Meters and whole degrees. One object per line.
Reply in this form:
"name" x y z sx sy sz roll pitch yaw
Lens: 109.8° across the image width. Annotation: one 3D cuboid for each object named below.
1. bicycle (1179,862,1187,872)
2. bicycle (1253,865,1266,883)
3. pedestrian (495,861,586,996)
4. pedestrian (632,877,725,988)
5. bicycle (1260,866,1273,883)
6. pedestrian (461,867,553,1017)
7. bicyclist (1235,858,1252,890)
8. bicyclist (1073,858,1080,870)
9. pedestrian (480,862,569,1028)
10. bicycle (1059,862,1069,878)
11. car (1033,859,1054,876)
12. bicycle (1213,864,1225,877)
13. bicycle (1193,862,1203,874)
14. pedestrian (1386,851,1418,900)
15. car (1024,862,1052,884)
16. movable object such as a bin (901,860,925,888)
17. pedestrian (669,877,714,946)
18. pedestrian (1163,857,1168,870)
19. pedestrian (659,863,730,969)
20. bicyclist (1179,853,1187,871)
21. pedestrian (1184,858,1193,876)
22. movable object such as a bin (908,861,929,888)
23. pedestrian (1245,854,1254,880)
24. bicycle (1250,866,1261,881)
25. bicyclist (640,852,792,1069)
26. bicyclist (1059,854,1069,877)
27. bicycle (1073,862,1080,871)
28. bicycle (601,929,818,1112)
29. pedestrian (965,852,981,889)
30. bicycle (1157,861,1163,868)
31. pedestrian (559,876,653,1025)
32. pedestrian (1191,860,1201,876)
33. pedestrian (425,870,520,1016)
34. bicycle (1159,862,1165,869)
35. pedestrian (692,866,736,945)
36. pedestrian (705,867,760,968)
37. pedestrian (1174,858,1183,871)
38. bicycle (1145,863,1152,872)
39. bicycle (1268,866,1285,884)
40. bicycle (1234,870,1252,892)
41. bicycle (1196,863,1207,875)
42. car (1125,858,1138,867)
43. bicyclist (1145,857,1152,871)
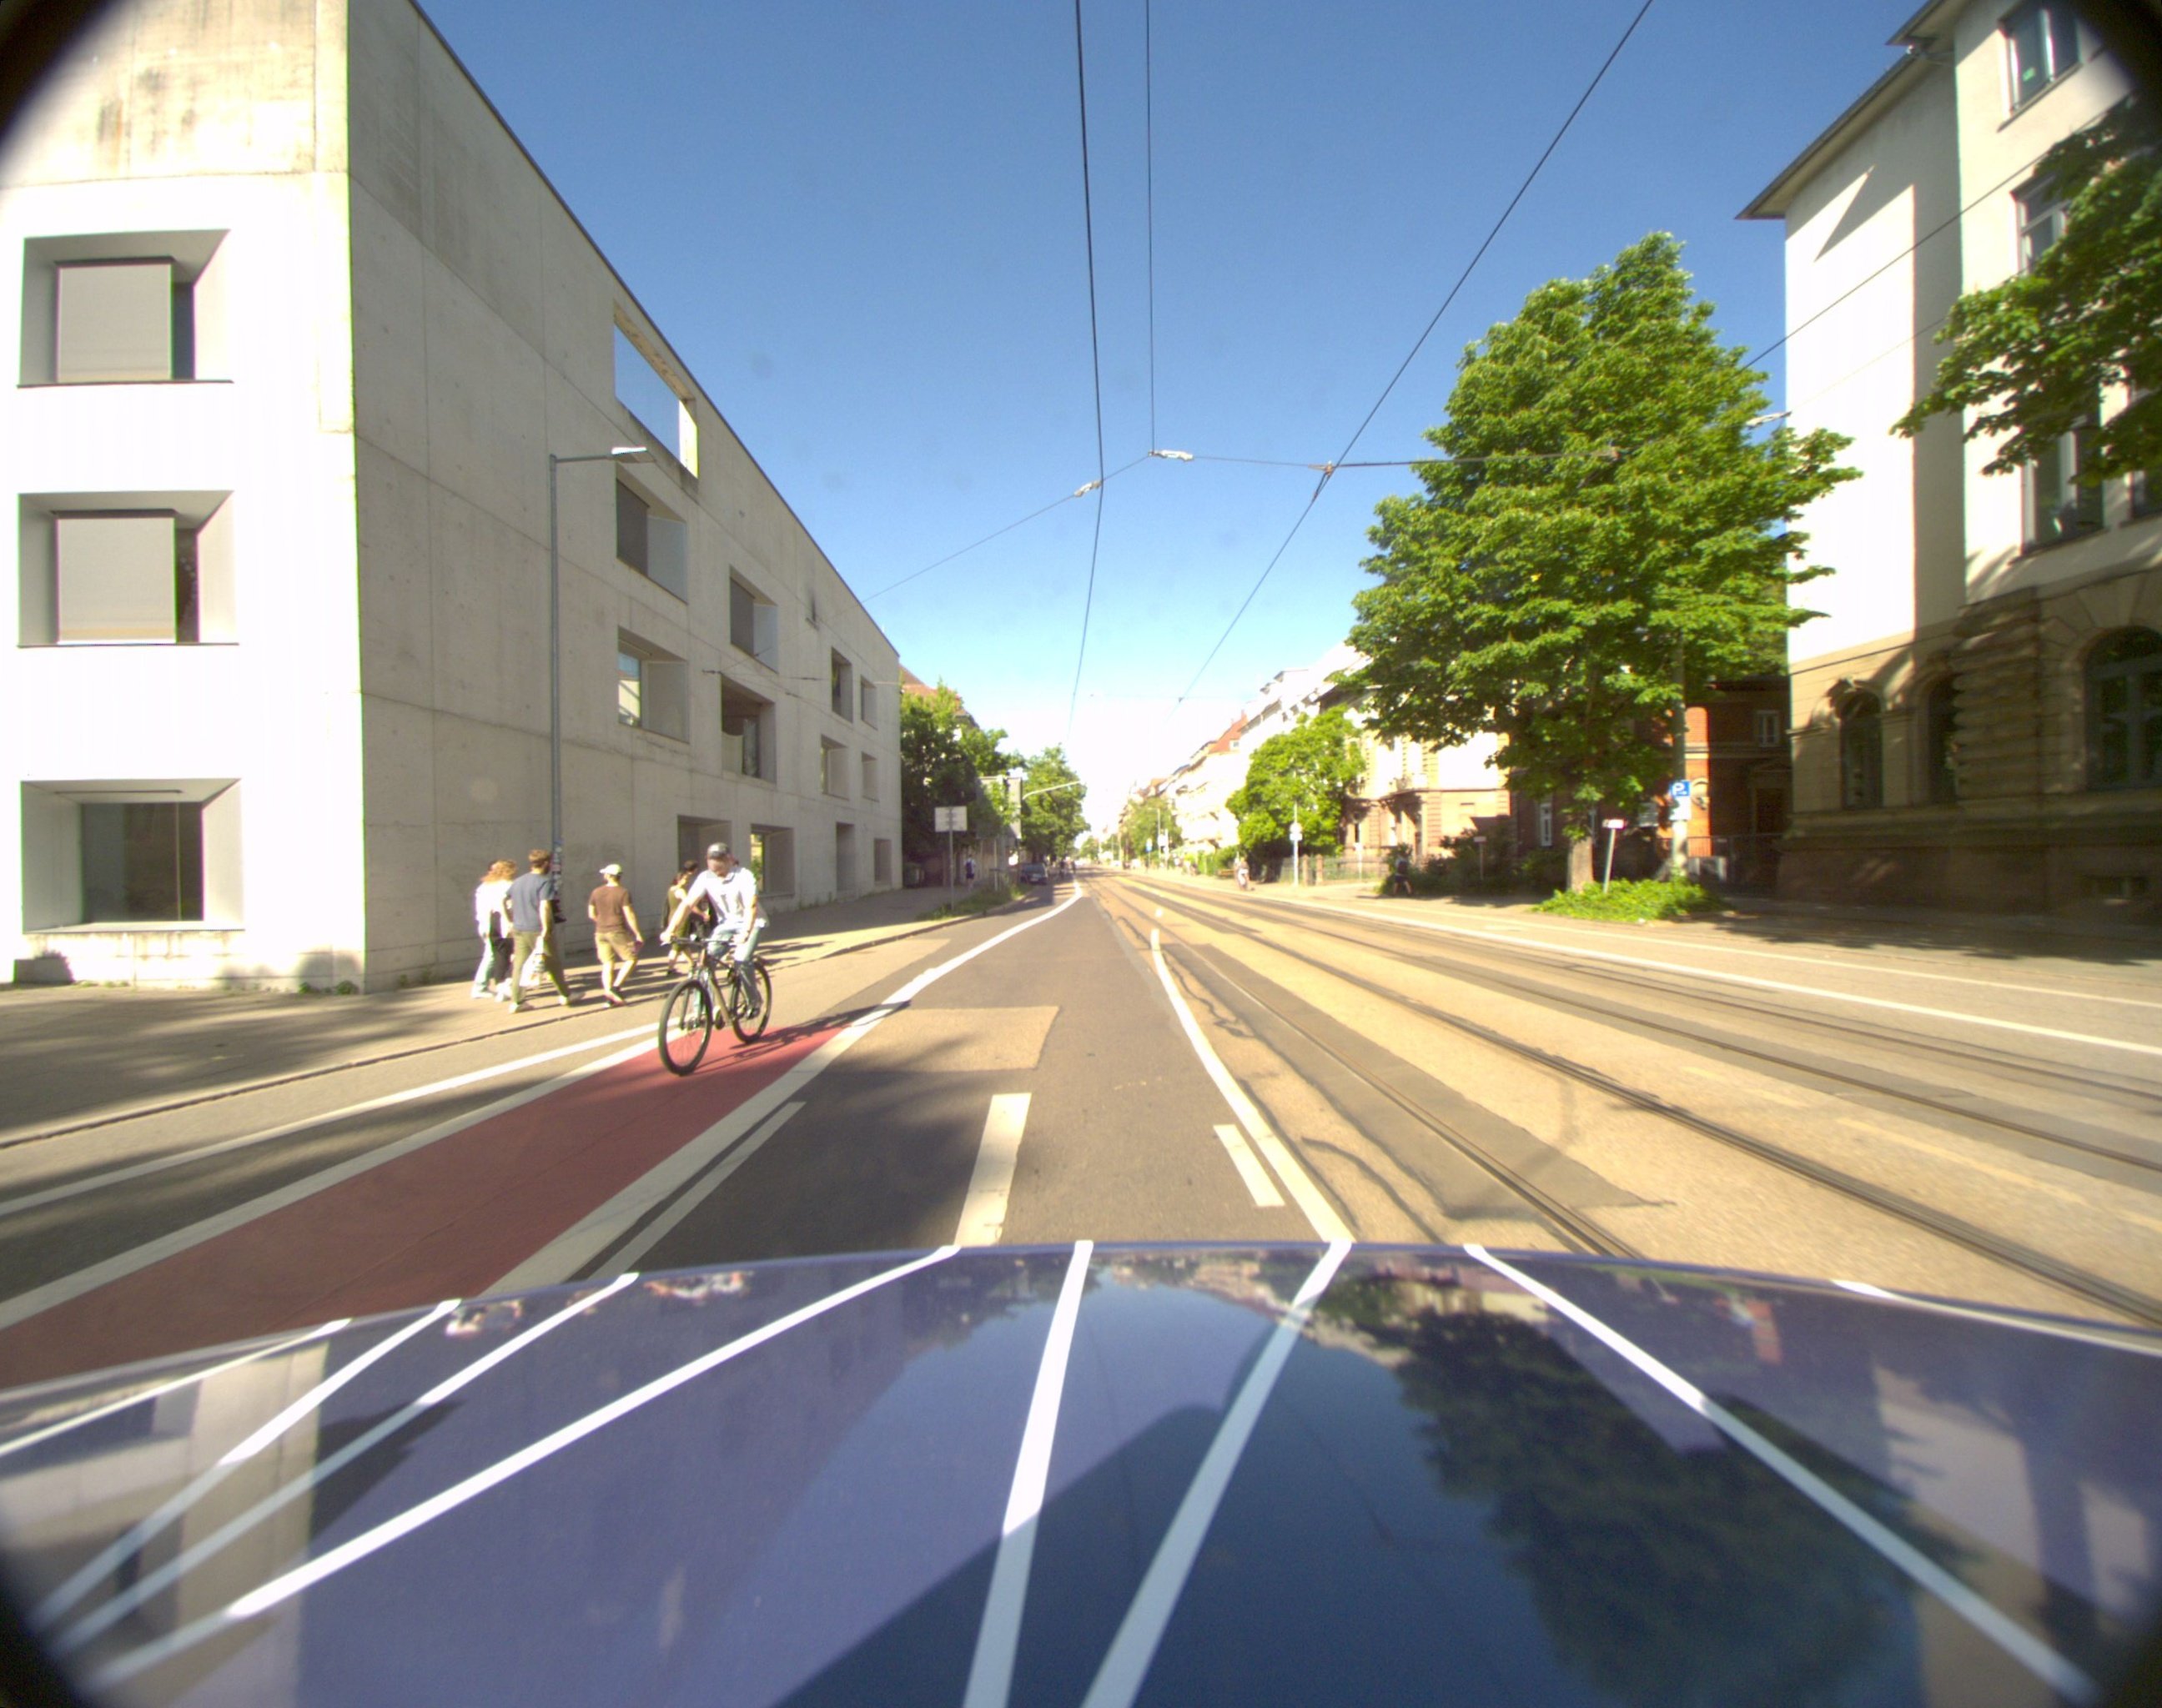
"bicycle" 10.582 1.339 78.806 0.705 1.049 1.837 -1 1 12
"bicycle" 12.226 1.343 52.147 0.647 1.137 1.906 -3 0 7
"pedestrian" -7.583 1.012 10.686 0.658 1.792 0.732 3 0 7
"pedestrian" -6.261 1.190 11.856 0.830 1.595 0.894 4 0 10
"bicycle" 12.160 1.342 49.814 0.591 1.039 1.906 -2 0 7
"pedestrian" -7.161 1.066 9.489 0.528 1.764 0.737 4 1 38
"bicyclist" 8.744 1.067 41.015 0.688 1.635 1.238 1 0 3
"bicyclist" -0.584 1.221 94.558 0.776 1.505 1.229 -1 0 -3
"pedestrian" -6.621 1.052 9.058 0.519 1.891 0.612 3 0 7
"bicycle" -1.344 1.288 60.757 0.763 1.235 2.096 -2 0 -1
"car" -3.796 1.369 77.744 1.815 1.616 4.584 1 0 0
"bicycle" 11.706 1.407 64.569 0.640 1.053 1.743 -3 0 0
"bicycle" 11.943 1.433 77.465 0.663 1.083 1.840 -4 1 0
"pedestrian" 12.335 0.822 29.224 0.732 1.786 0.779 -4 1 -17
"car" -3.056 1.300 53.070 1.827 1.450 4.816 1 0 -4
"movable object such as a bin" -9.095 1.057 41.133 0.935 1.454 1.355 -1 0 1
"pedestrian" -8.180 1.193 15.980 0.519 1.396 0.764 0 0 2
"pedestrian" 11.516 1.333 103.128 0.558 1.771 0.538 -1 0 -4
"pedestrian" -6.822 1.064 13.454 0.649 1.752 0.956 4 0 2
"bicyclist" 10.575 0.861 78.800 0.705 1.843 0.986 0 1 12
"pedestrian" 10.516 1.270 74.433 0.756 1.704 0.808 -3 0 0
"movable object such as a bin" -9.188 1.147 43.034 0.936 1.454 1.331 -1 0 -2
"pedestrian" 11.900 0.940 53.629 0.576 1.821 0.690 -1 0 18
"bicycle" 12.287 1.362 53.590 0.637 1.039 2.024 -1 0 16
"bicyclist" -3.050 0.841 6.454 0.740 1.676 0.972 -2 0 1
"bicyclist" -1.359 0.918 60.816 0.763 1.728 1.046 -2 0 -1
"bicycle" -0.579 1.610 94.554 0.776 1.080 2.058 -1 0 -3
"bicycle" -3.032 1.302 6.504 0.740 1.088 2.111 -2 0 1
"pedestrian" -5.507 0.847 38.612 0.685 1.838 0.955 1 0 -2
"bicycle" 11.277 1.529 108.517 0.515 1.032 2.223 -1 0 0
"pedestrian" -5.899 1.162 9.462 0.607 1.736 0.718 3 0 7
"pedestrian" 11.286 1.358 74.501 0.756 1.469 0.957 -3 0 0
"pedestrian" -7.789 1.104 9.736 0.610 1.764 0.654 4 1 21
"bicycle" 11.138 1.570 104.691 0.528 0.975 1.777 -1 0 -1
"pedestrian" -7.634 1.060 15.820 0.519 1.591 0.764 0 0 2
"pedestrian" -6.232 1.115 13.614 0.496 1.718 0.816 4 0 2
"pedestrian" 12.839 1.385 99.882 0.692 1.757 0.868 0 0 43
"bicycle" 8.125 1.643 91.479 0.747 1.075 1.899 2 0 1
"bicycle" 12.195 1.318 47.501 0.591 1.039 1.905 -2 0 3
"bicycle" 8.735 1.448 40.998 0.688 1.118 1.932 1 0 4
"bicycle" 11.978 1.451 75.521 0.663 1.083 1.840 -4 1 0
"car" 8.609 1.482 130.402 1.869 1.567 4.588 1 0 -1
"bicyclist" 8.144 1.216 91.475 0.747 1.590 1.118 2 0 1
